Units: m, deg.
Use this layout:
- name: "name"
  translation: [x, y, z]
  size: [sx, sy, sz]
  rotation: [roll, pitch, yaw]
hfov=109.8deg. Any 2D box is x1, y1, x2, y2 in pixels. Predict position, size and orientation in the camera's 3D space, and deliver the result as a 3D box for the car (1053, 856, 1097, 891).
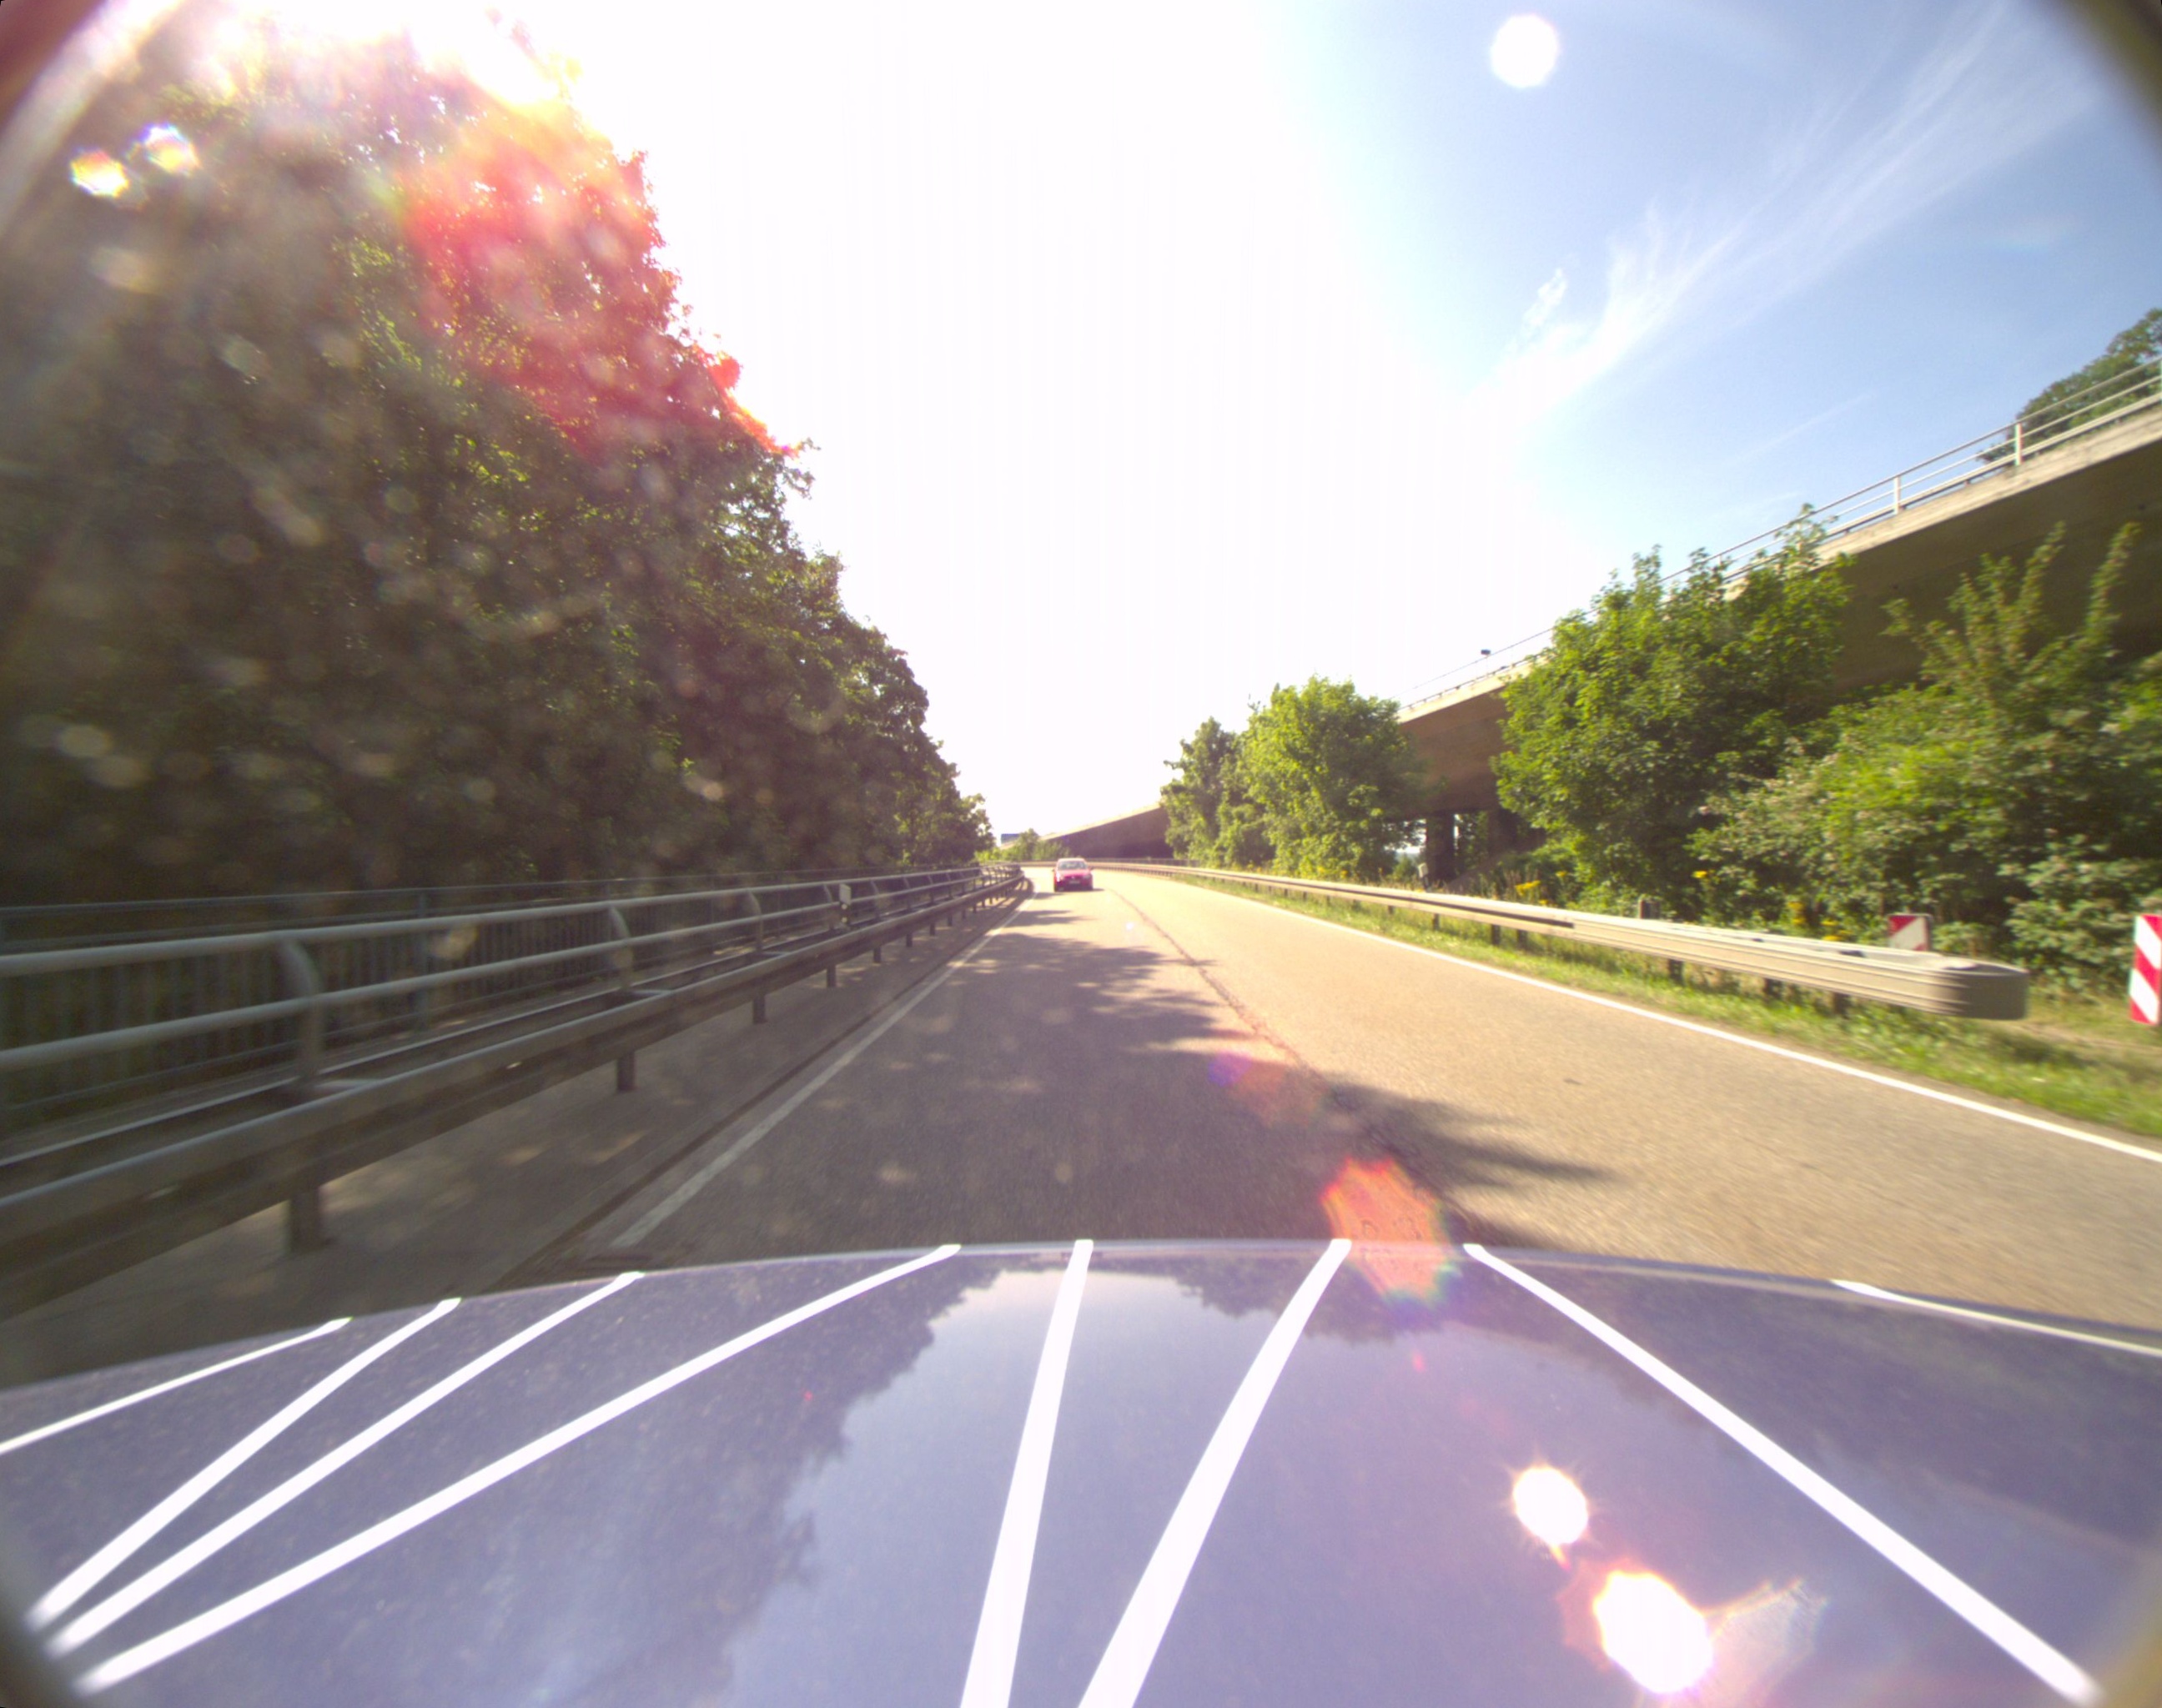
- name: "car"
  translation: [-0.339, 0.884, 35.452]
  size: [1.817, 1.487, 4.285]
  rotation: [-2, 0, -3]
